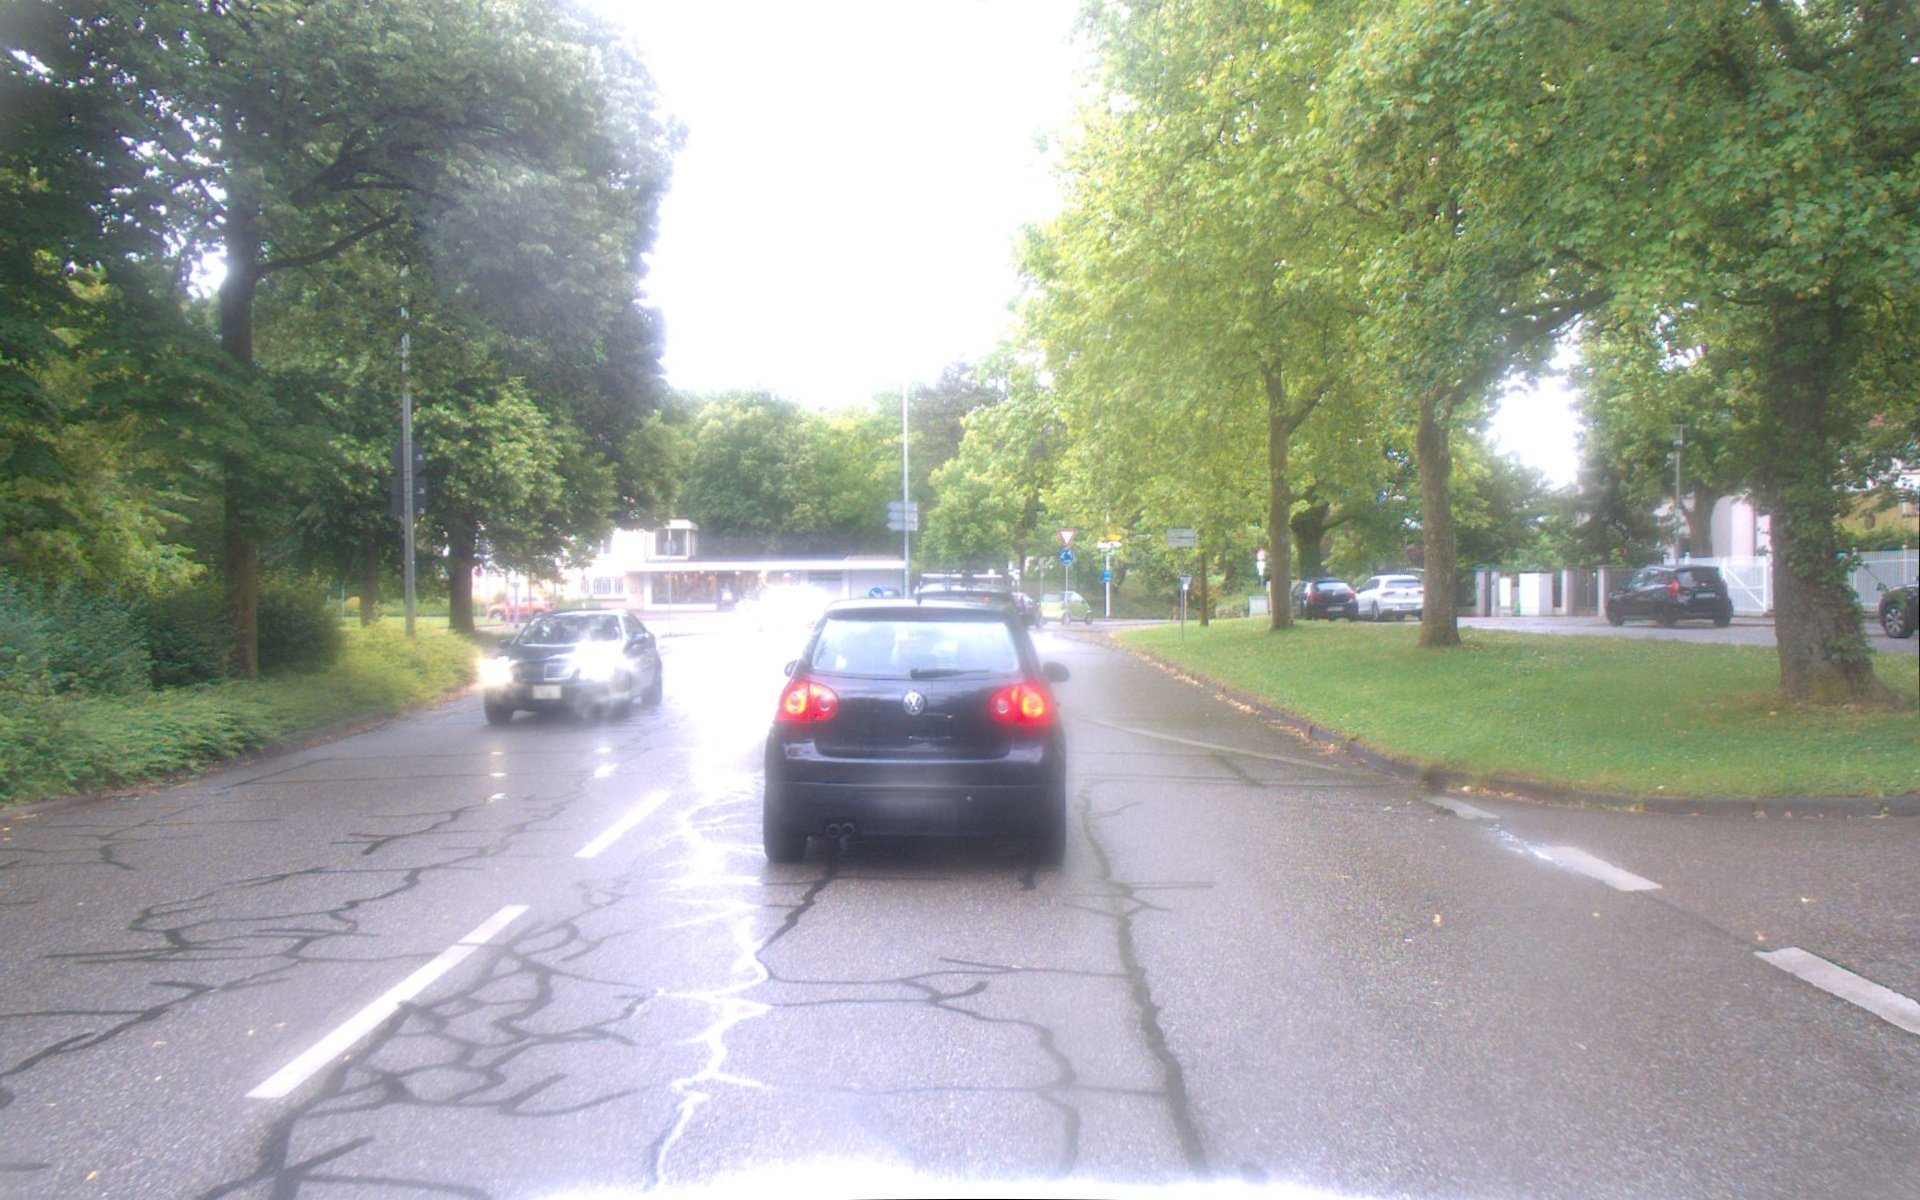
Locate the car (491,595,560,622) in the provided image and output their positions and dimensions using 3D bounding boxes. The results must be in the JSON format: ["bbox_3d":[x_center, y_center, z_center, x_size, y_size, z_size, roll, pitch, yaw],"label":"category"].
[{"bbox_3d":[-25.862,0.511,98.545,3.584,1.539,1.713,-1,0,4],"label":"car"}]

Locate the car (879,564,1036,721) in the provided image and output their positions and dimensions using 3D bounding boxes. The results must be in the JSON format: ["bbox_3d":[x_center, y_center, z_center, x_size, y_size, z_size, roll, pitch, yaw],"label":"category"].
[{"bbox_3d":[-0.011,0.511,21.421,1.817,1.816,4.000,-1,0,0],"label":"car"}]

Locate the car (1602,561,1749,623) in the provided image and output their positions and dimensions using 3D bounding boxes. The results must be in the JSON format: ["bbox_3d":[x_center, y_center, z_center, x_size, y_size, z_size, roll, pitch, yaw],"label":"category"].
[{"bbox_3d":[17.930,-0.219,41.635,1.766,1.436,4.111,-2,1,-2],"label":"car"}]

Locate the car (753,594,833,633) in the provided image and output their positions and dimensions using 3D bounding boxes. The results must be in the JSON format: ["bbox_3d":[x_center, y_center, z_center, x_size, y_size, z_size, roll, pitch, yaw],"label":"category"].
[{"bbox_3d":[-6.492,0.523,63.907,1.816,1.444,4.478,-1,0,-23],"label":"car"}]

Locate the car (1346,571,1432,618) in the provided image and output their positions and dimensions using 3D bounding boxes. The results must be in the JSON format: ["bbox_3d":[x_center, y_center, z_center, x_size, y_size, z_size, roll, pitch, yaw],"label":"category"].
[{"bbox_3d":[14.156,-0.183,54.790,1.766,1.430,4.000,-2,1,0],"label":"car"}]

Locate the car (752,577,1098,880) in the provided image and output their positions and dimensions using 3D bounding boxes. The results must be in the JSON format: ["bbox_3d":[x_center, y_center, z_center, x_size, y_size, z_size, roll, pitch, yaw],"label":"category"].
[{"bbox_3d":[-0.162,0.661,10.399,1.762,1.542,3.754,1,0,0],"label":"car"}]

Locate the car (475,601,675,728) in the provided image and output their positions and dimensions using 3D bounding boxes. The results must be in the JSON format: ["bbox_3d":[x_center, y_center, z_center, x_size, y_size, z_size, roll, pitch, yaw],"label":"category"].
[{"bbox_3d":[-4.933,0.773,21.721,1.761,1.417,3.977,-3,0,-2],"label":"car"}]

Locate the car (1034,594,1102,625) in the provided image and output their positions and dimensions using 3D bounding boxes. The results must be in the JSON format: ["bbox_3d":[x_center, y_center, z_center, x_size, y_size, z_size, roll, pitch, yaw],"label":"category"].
[{"bbox_3d":[5.051,0.422,76.940,1.513,1.333,3.110,-2,0,43],"label":"car"}]

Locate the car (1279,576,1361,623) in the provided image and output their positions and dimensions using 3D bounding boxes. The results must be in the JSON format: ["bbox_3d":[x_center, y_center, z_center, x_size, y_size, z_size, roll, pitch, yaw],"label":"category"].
[{"bbox_3d":[11.796,-0.032,54.425,1.766,1.409,4.000,-2,1,0],"label":"car"}]

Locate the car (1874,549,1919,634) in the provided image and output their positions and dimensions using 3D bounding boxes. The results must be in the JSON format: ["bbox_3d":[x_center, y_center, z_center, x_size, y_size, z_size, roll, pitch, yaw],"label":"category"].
[{"bbox_3d":[18.524,-0.173,29.751,1.766,1.556,4.111,-2,1,-2],"label":"car"}]
